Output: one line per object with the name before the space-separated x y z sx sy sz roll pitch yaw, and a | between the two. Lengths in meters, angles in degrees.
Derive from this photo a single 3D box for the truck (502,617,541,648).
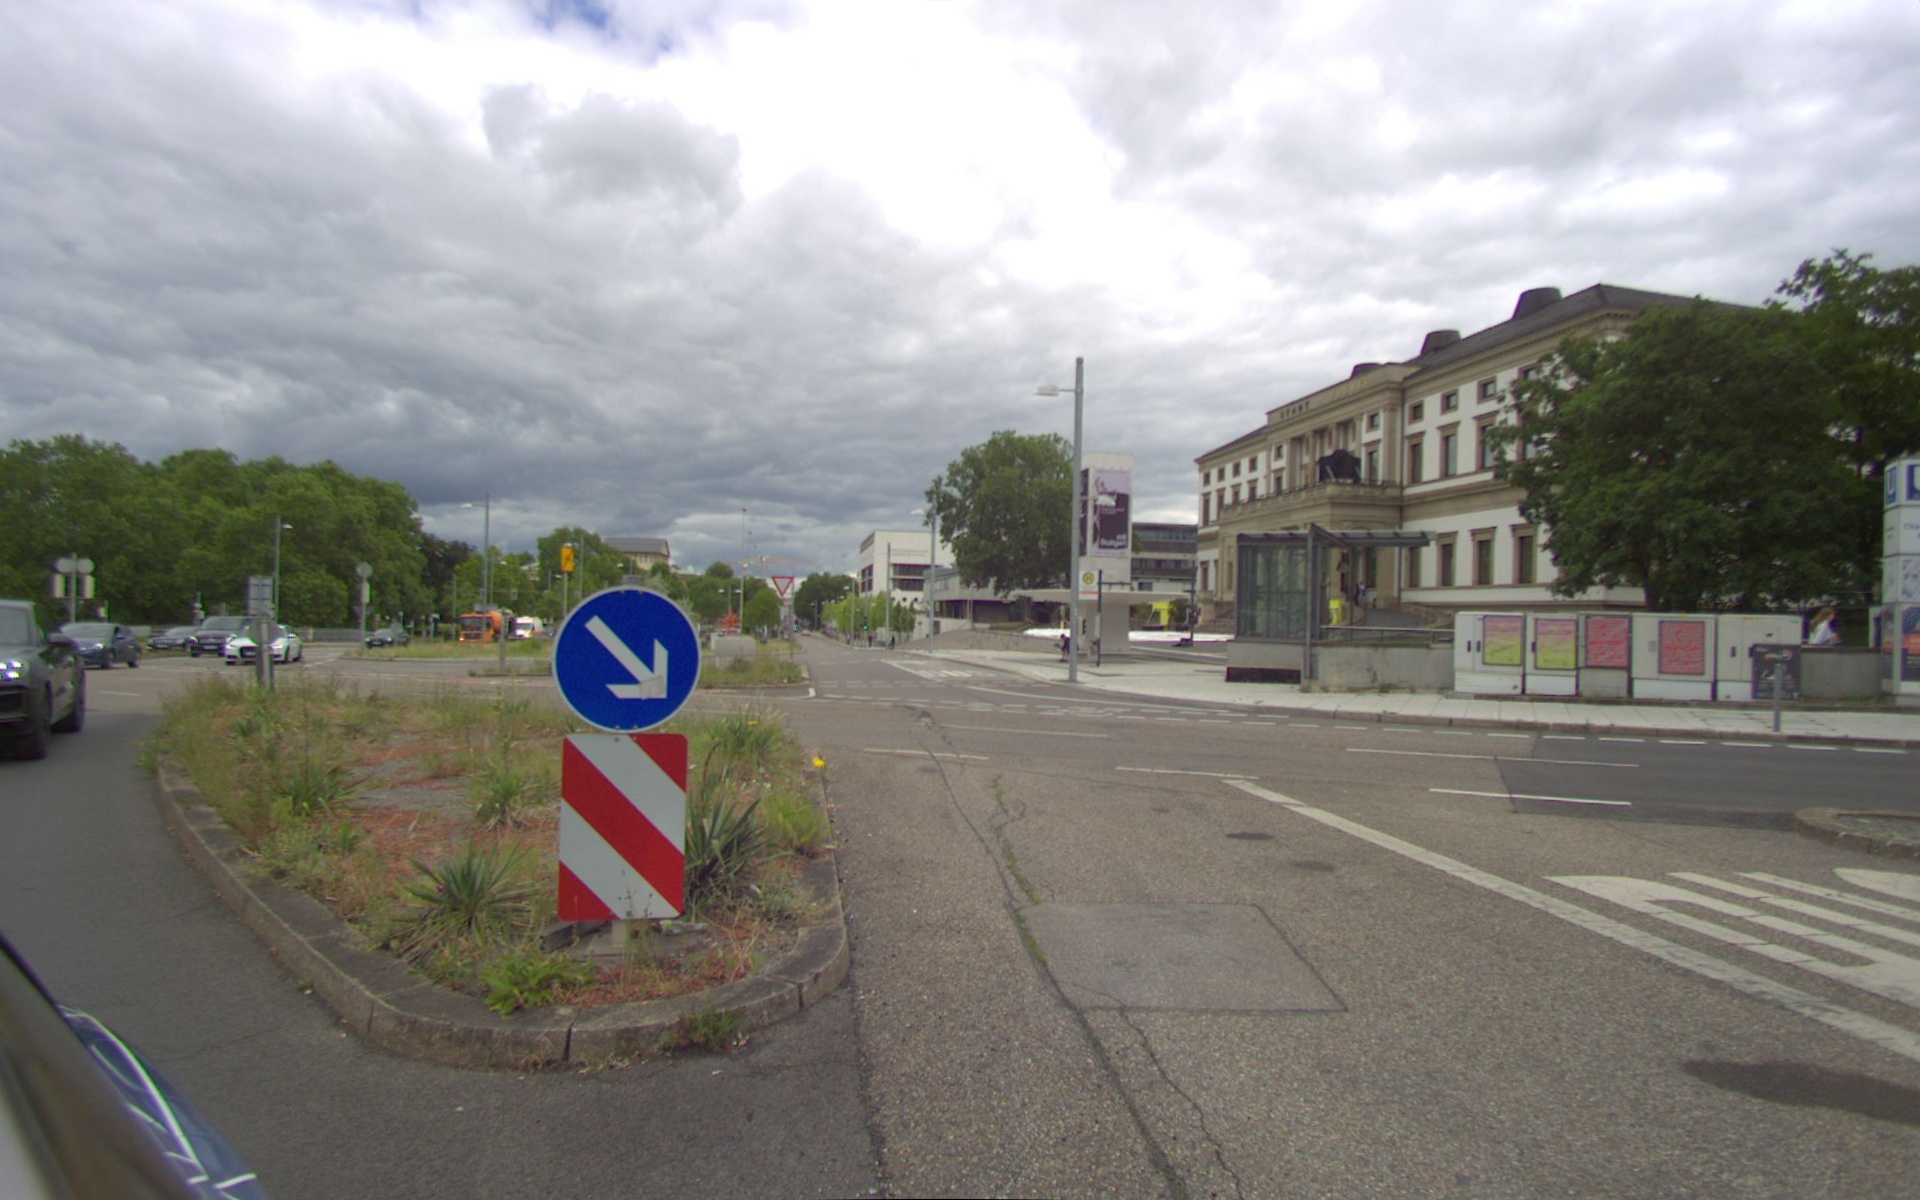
truck | -41.010 3.032 94.735 1.925 2.805 5.800 0 -2 -9

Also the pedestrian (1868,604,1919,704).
pedestrian | 15.922 0.898 16.854 0.960 1.625 0.649 3 1 25

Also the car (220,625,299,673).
car | -25.878 1.757 37.520 2.061 1.621 4.425 1 -1 -30

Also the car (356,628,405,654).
car | -40.326 2.804 70.517 1.830 1.752 3.749 1 -2 -12

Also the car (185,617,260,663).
car | -33.861 1.794 46.589 1.828 2.003 4.657 2 -2 -24

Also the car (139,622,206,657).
car | -40.089 1.993 51.608 1.965 1.690 4.013 1 -1 -27

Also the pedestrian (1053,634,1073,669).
pedestrian | 4.134 2.059 40.626 0.695 1.363 0.761 0 -2 -4

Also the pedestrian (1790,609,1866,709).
pedestrian | 15.308 1.025 17.871 0.782 1.643 0.601 3 4 25

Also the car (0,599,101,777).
car | -10.967 0.852 10.983 1.972 1.651 5.033 0 -1 -34

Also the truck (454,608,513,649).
truck | -44.401 2.629 94.570 2.684 3.644 9.198 0 -2 -11

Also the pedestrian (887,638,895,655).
pedestrian | -7.085 4.754 103.820 0.672 1.762 0.893 1 -2 -15

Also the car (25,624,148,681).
car | -27.366 1.595 31.864 1.965 1.613 4.013 0 -1 -26
